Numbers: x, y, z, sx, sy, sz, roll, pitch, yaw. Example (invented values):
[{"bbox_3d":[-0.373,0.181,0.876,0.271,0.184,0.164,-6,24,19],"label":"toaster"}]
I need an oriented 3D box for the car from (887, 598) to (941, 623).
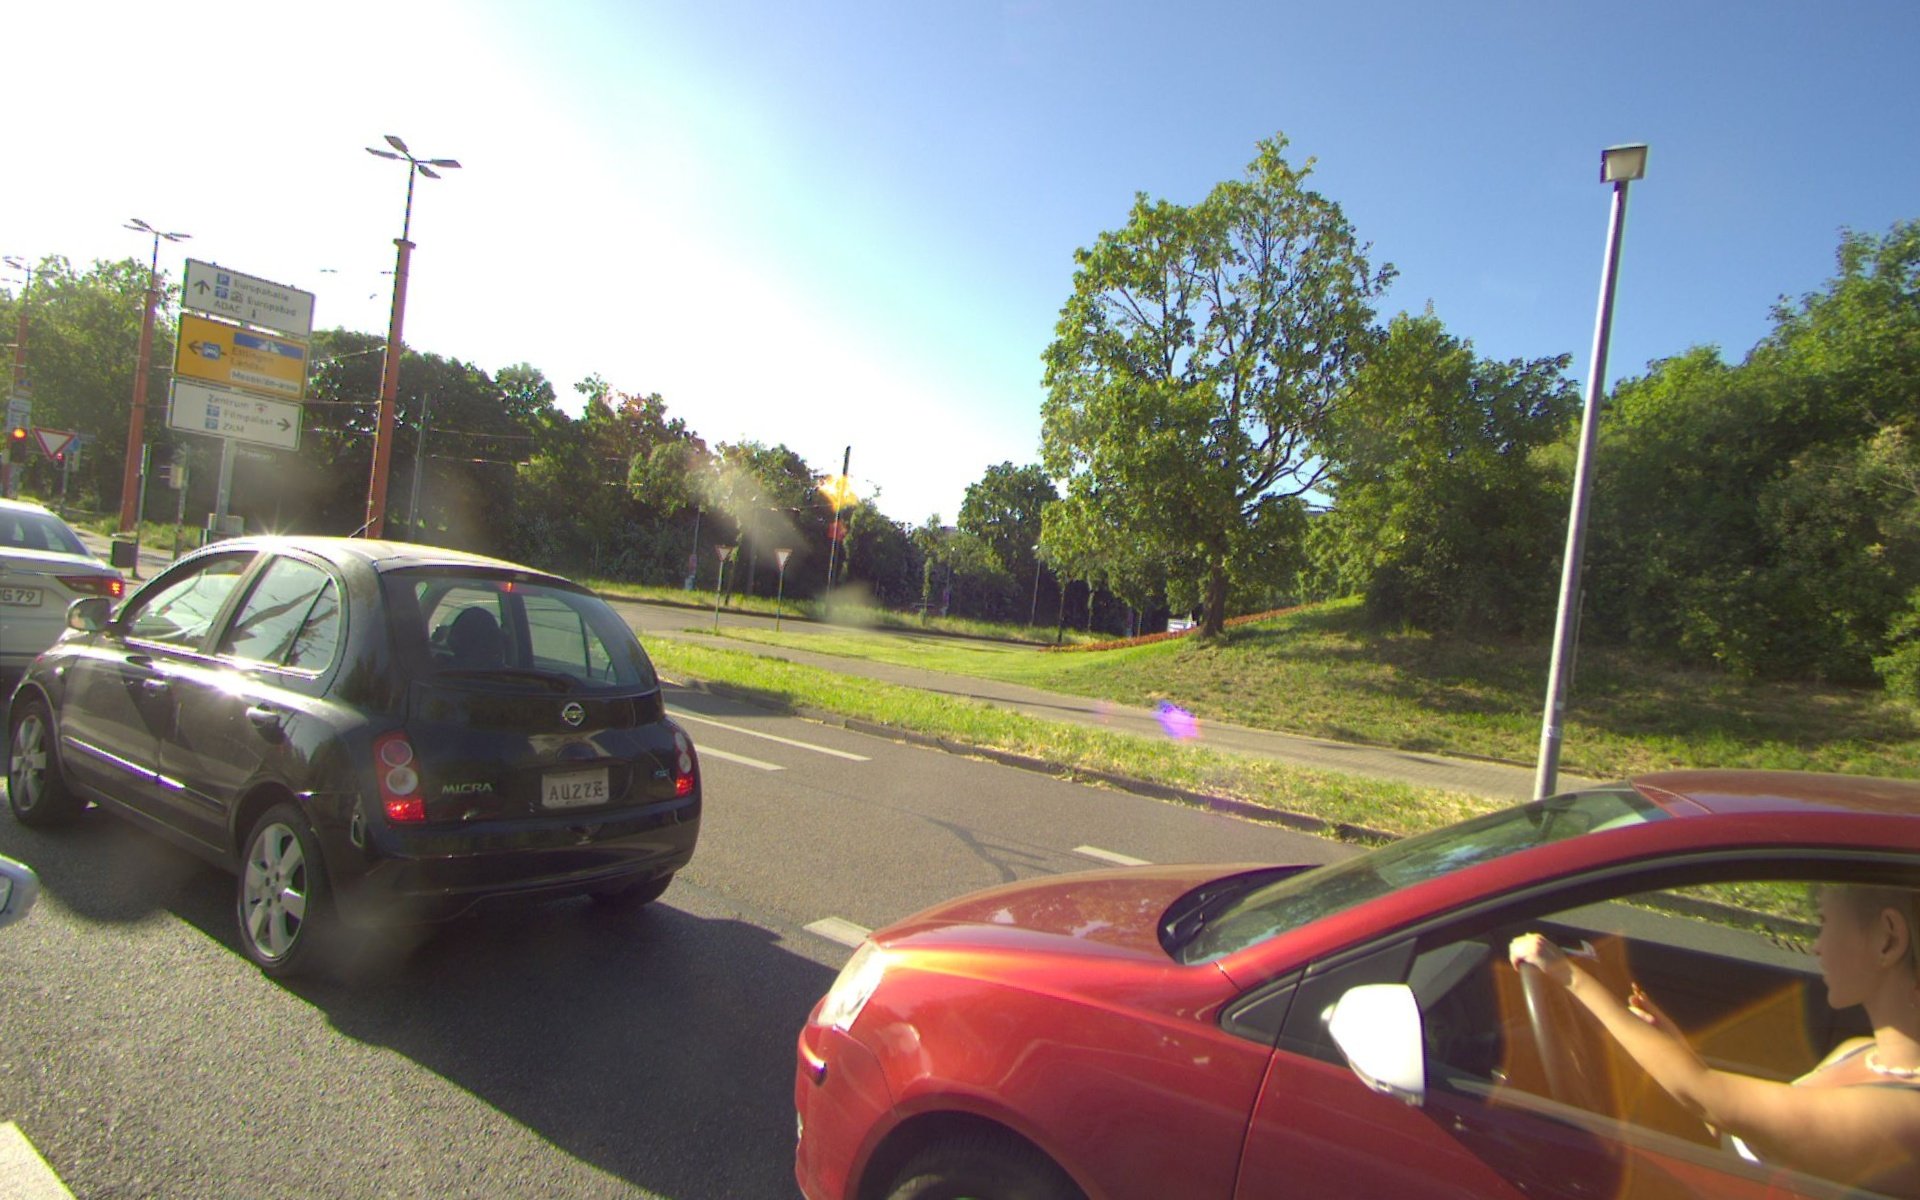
[{"bbox_3d":[-3.442,0.763,75.289,3.577,1.383,1.689,8,-1,-32],"label":"car"}]

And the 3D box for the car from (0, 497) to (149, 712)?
[{"bbox_3d":[-8.343,-0.164,7.977,4.077,1.472,1.717,7,-1,33],"label":"car"}]

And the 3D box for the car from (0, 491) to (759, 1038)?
[{"bbox_3d":[-2.818,0.463,4.623,3.457,1.524,1.558,7,0,32],"label":"car"}]

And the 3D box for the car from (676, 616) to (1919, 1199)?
[{"bbox_3d":[1.374,0.989,1.893,3.634,1.434,1.624,7,-1,34],"label":"car"}]
